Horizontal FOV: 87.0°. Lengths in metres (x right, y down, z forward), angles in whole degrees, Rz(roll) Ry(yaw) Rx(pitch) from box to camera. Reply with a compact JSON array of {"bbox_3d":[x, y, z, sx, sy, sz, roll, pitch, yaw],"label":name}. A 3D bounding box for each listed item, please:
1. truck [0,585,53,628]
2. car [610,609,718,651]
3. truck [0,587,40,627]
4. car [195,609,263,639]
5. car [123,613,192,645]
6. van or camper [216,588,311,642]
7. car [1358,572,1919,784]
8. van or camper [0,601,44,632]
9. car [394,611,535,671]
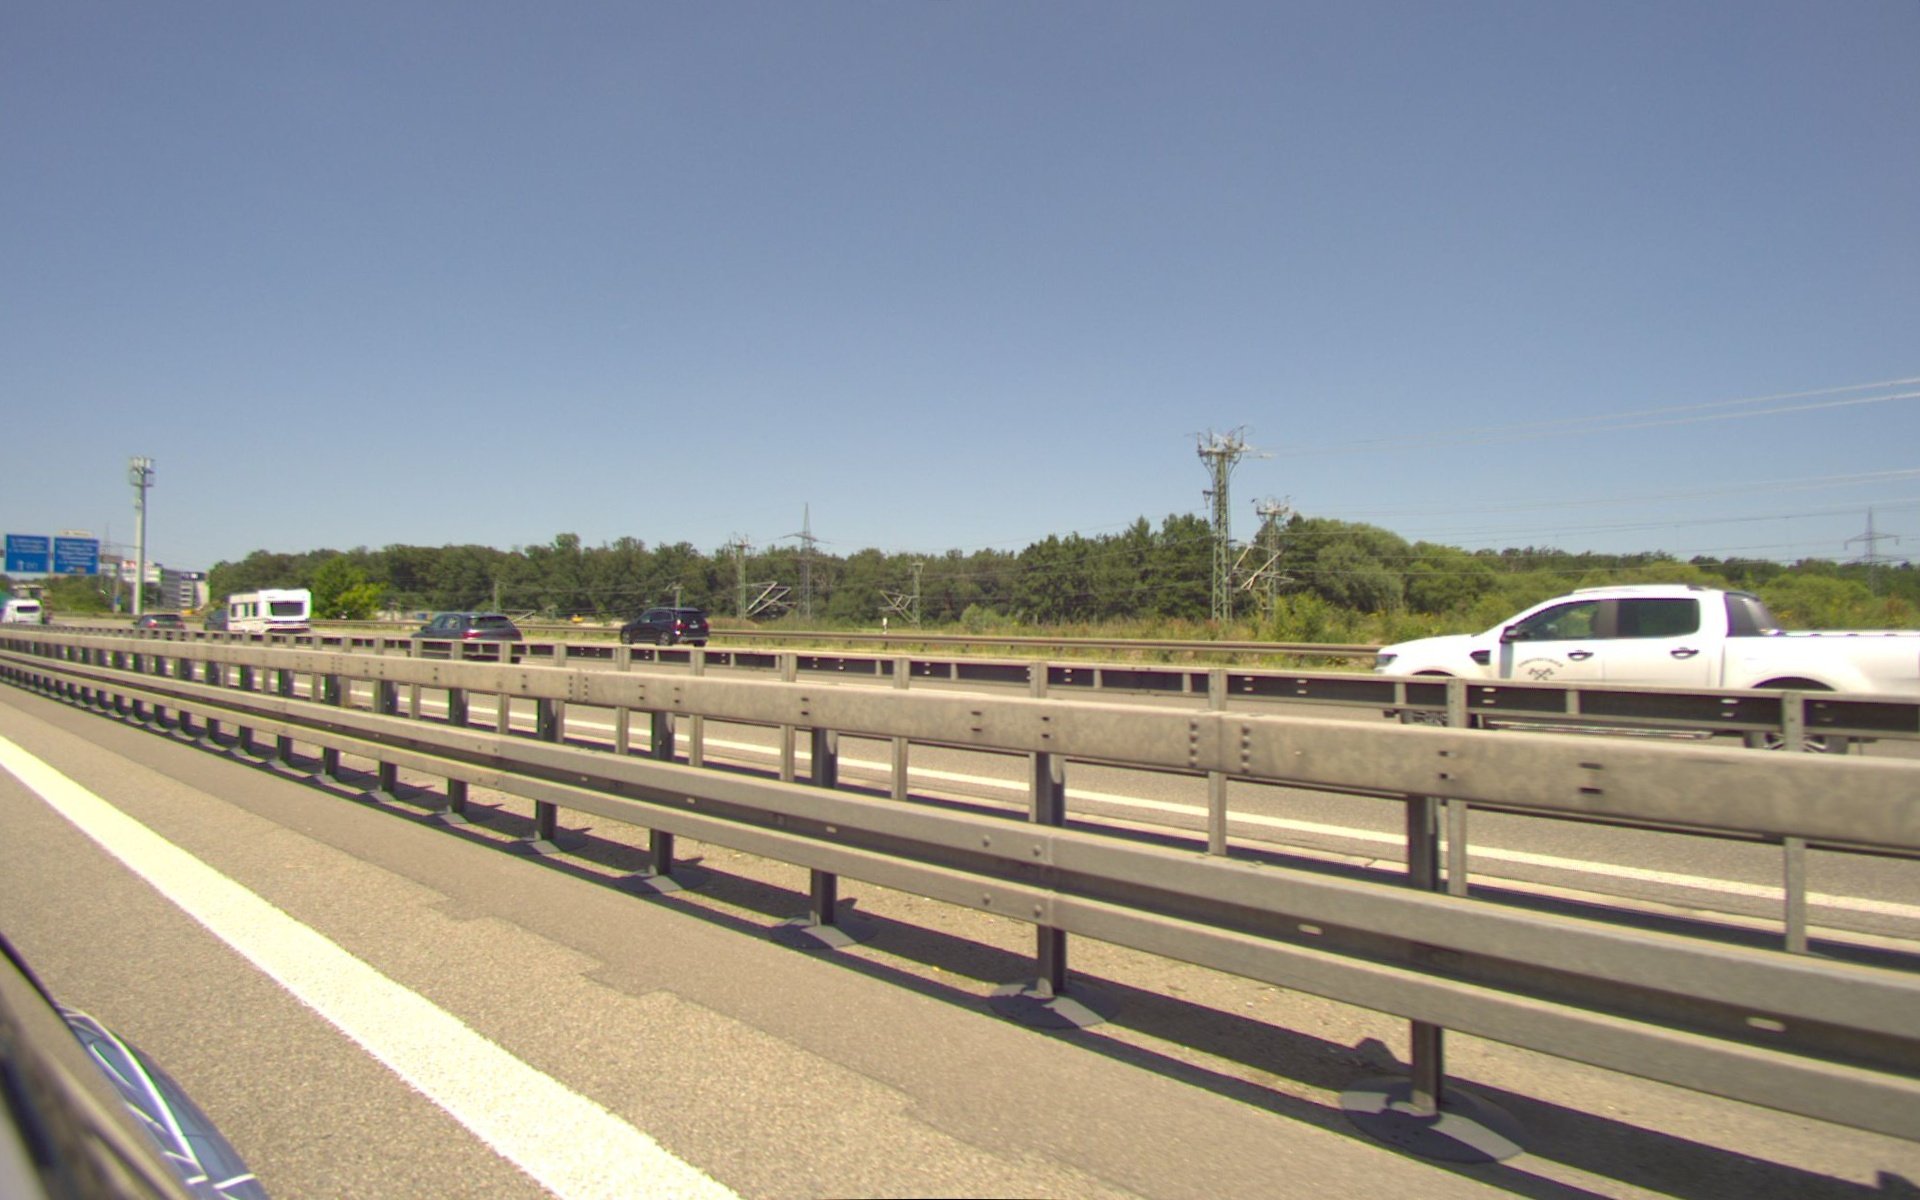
[{"bbox_3d":[-92.584,0.636,99.880,12.238,4.013,3.350,-1,-1,42],"label":"truck"},{"bbox_3d":[-12.243,1.193,41.686,4.933,1.609,1.972,-1,-1,42],"label":"car"},{"bbox_3d":[-98.522,0.754,105.158,8.579,3.953,3.382,-1,-1,42],"label":"truck"},{"bbox_3d":[-41.853,1.359,57.907,4.990,1.671,2.044,-1,-1,41],"label":"car"},{"bbox_3d":[-42.731,1.505,53.873,4.886,1.520,1.973,0,0,41],"label":"car"},{"bbox_3d":[-37.093,0.808,53.796,7.600,2.677,2.313,-1,-1,41],"label":"van or camper"},{"bbox_3d":[7.466,0.709,10.912,5.596,1.844,1.973,-1,-1,41],"label":"car"},{"bbox_3d":[-73.576,1.270,79.225,5.072,2.358,1.974,-1,0,39],"label":"van or camper"},{"bbox_3d":[-14.277,1.125,29.068,4.547,1.586,1.973,-1,-1,40],"label":"car"}]
